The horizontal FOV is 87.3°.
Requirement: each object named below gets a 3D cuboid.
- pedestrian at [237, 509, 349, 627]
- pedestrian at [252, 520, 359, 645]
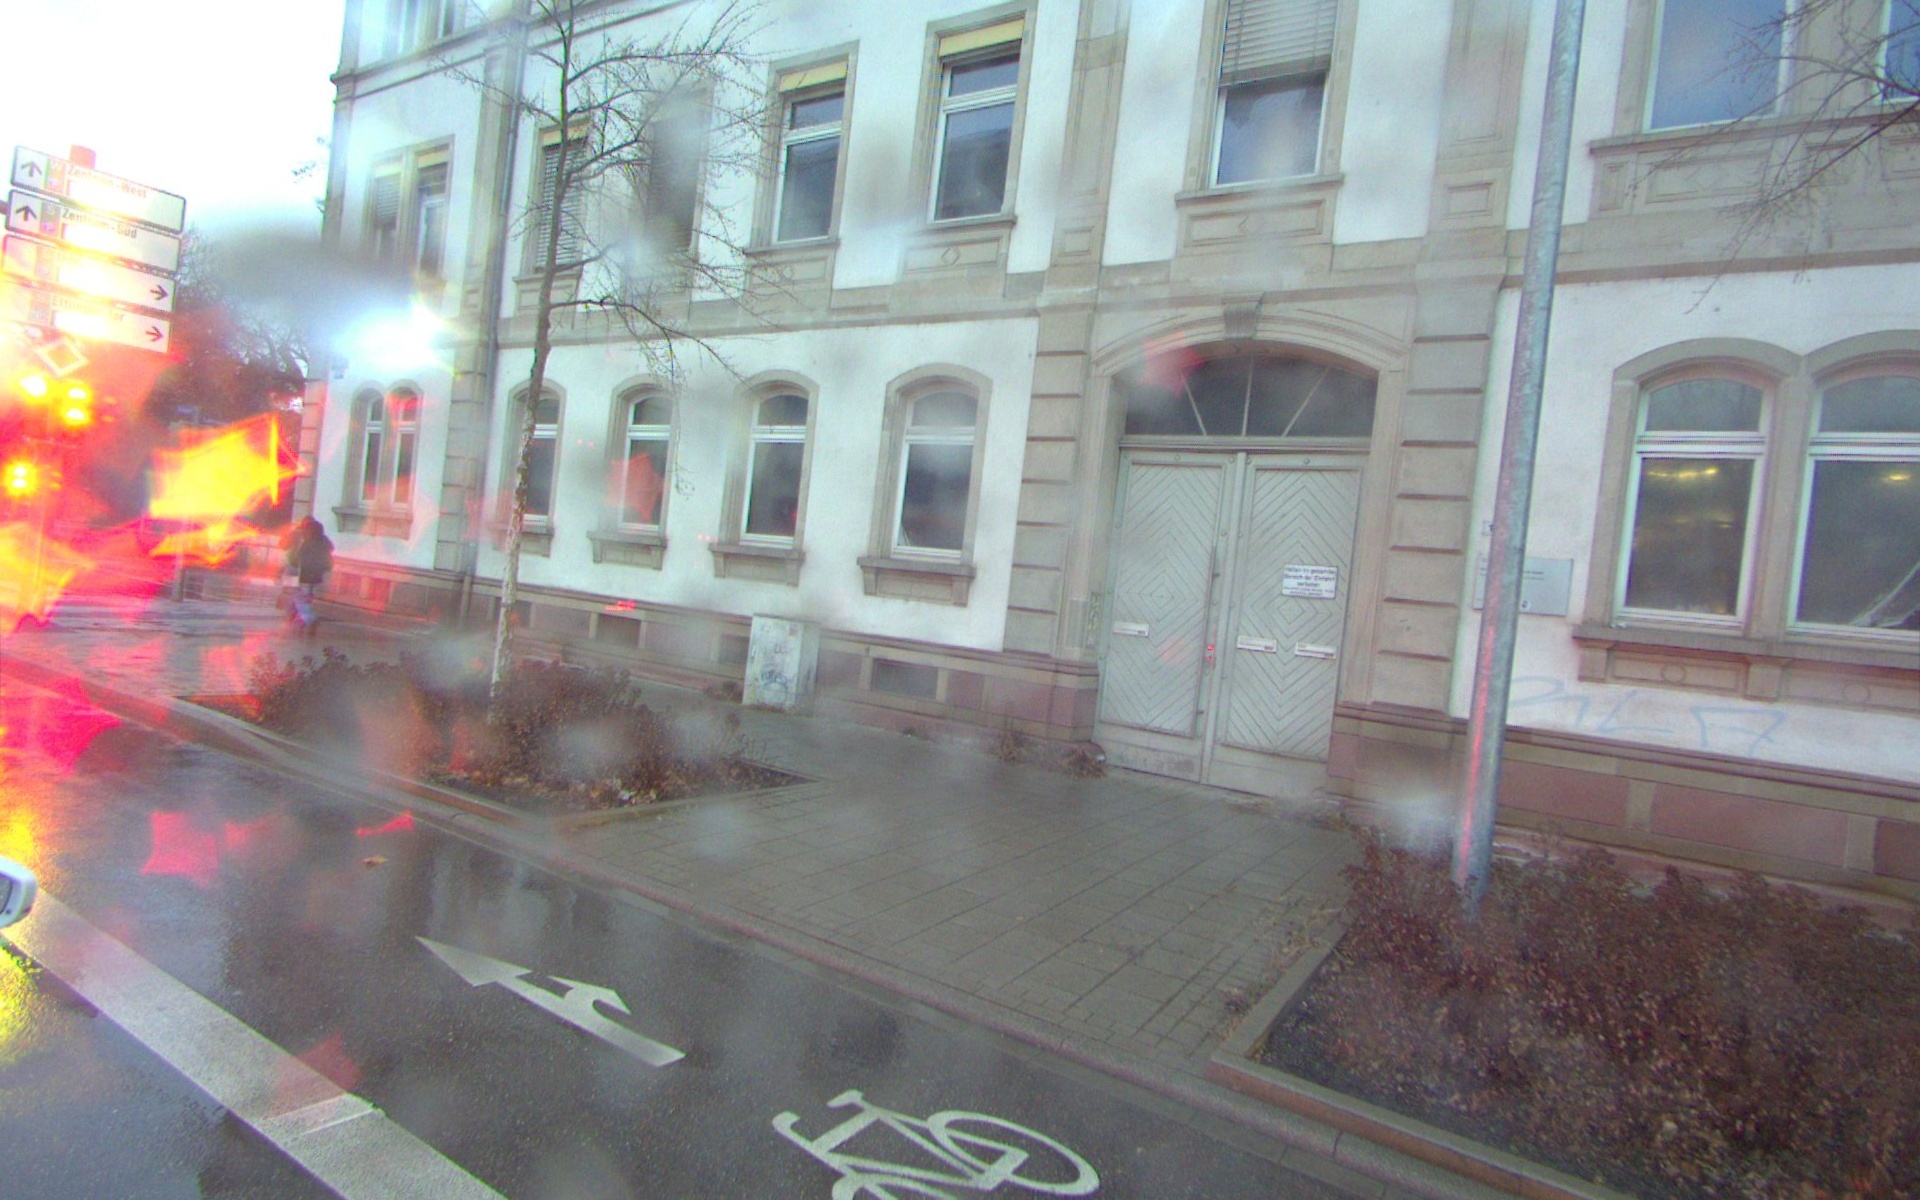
[{"bbox_3d":[-10.242,-0.474,15.470,0.992,1.651,0.785,7,-1,8],"label":"pedestrian"},{"bbox_3d":[-9.142,-0.243,14.054,0.995,1.597,0.782,6,-1,35],"label":"pedestrian"}]
